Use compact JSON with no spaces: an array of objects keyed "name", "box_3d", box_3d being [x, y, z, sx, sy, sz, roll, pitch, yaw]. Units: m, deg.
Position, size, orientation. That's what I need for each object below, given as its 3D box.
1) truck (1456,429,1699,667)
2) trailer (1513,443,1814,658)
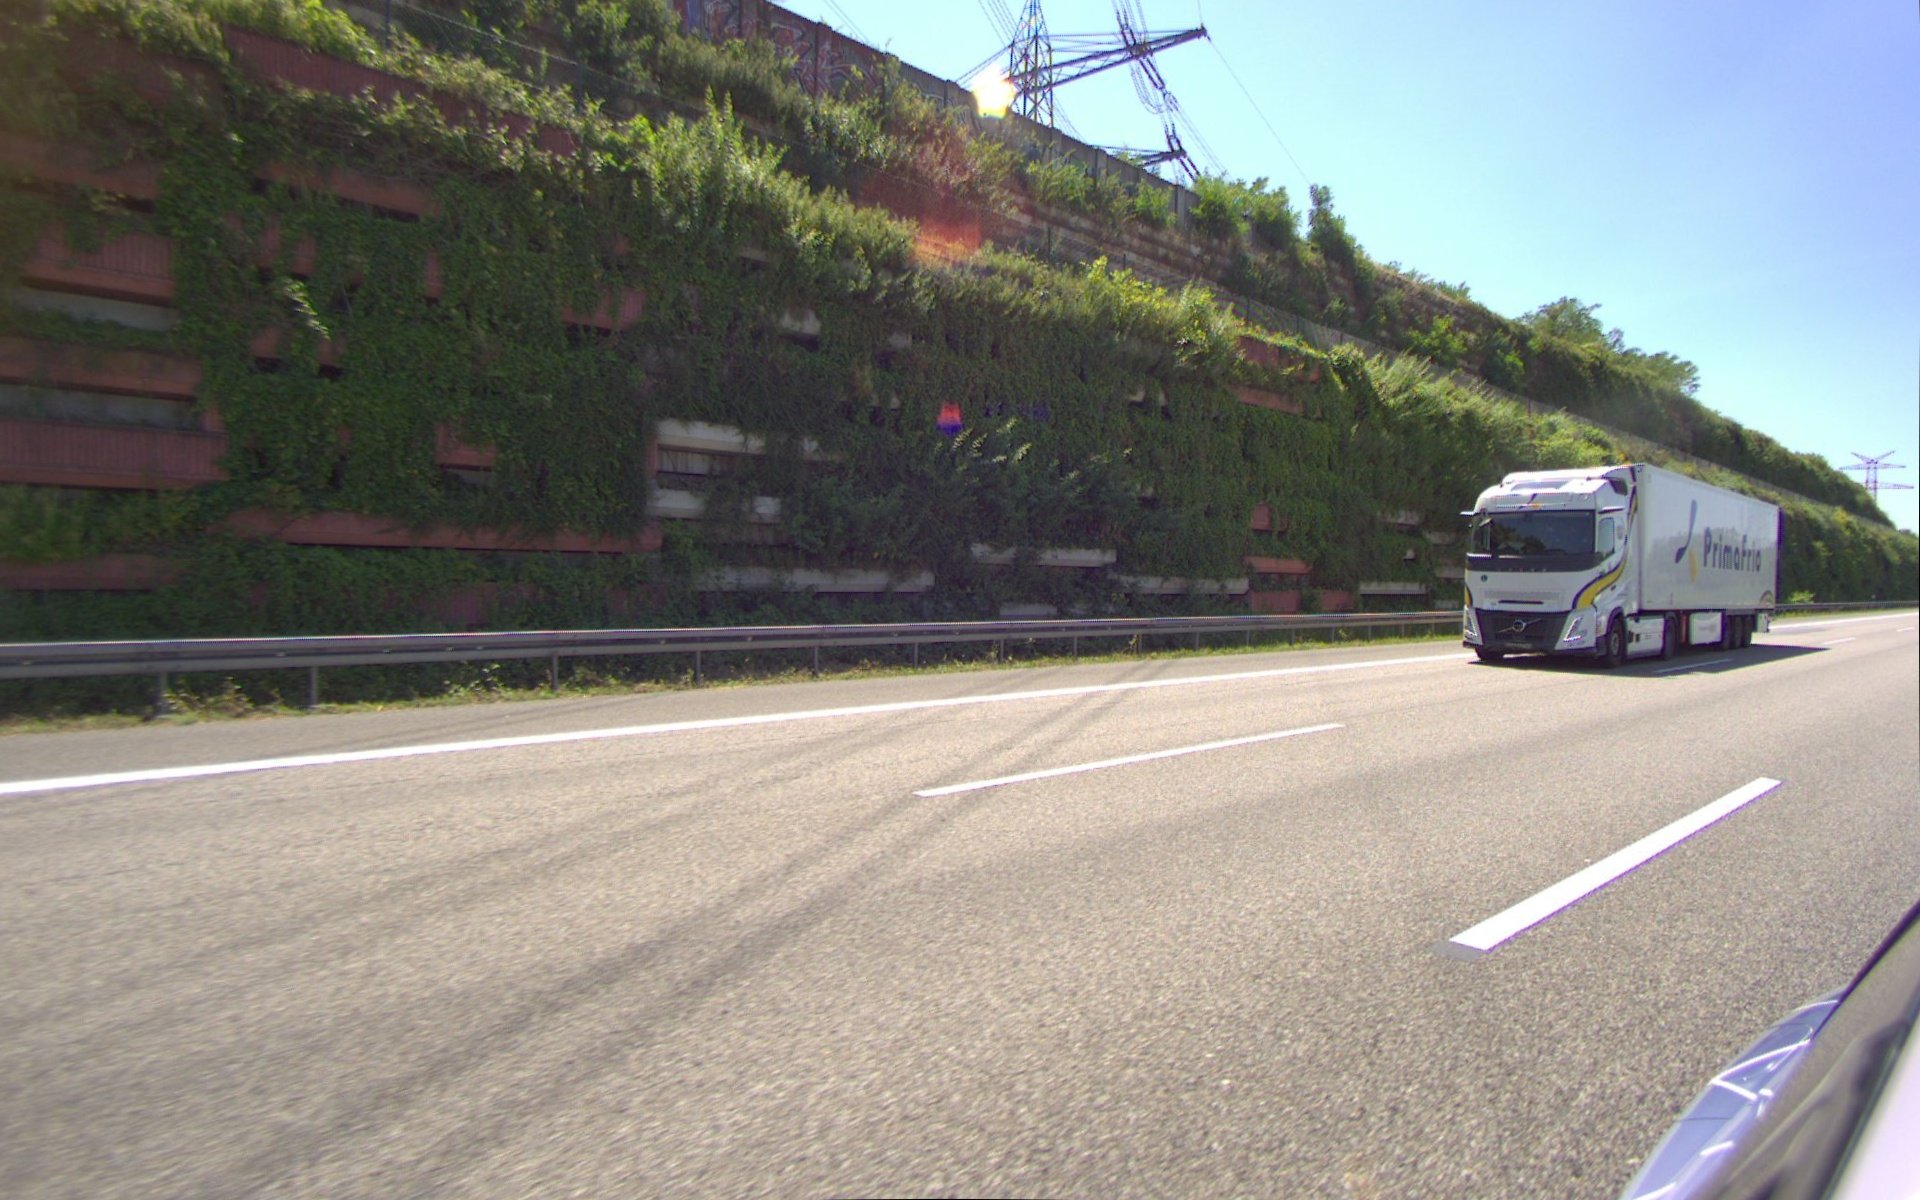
[{"name":"truck","box_3d":[13.030,-1.014,21.152,6.147,4.272,2.513,-1,2,-41]},{"name":"trailer","box_3d":[19.187,-1.067,26.615,16.732,4.264,2.519,0,2,-42]}]
